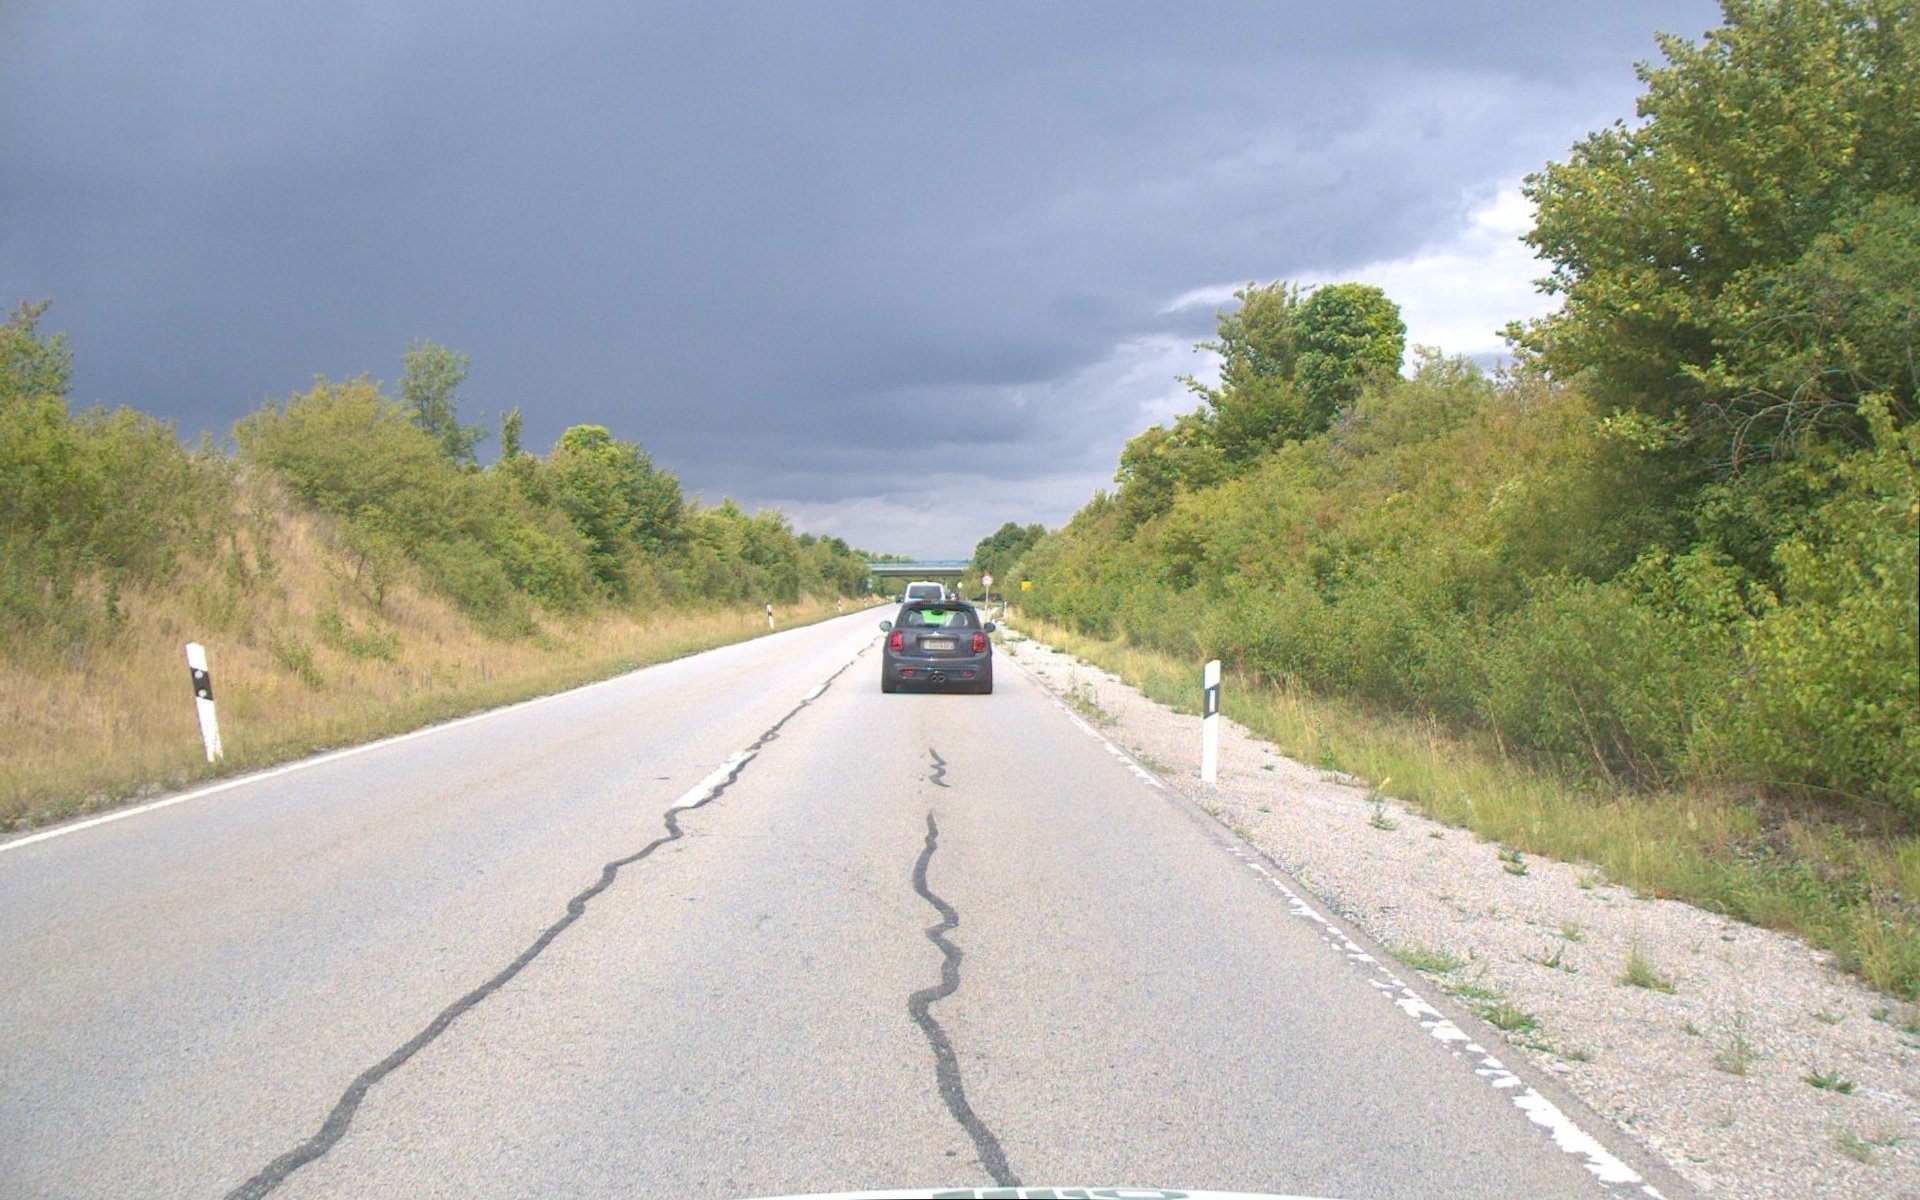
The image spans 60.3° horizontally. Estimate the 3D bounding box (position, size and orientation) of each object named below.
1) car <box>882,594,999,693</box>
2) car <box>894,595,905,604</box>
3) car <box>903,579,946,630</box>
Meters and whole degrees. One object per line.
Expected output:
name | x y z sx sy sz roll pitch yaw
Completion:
car | -0.337 0.647 26.641 1.721 1.452 3.999 1 0 -1
car | -9.003 -0.083 246.728 1.666 1.353 3.999 -1 0 -2
car | -1.549 0.189 71.347 1.782 2.090 3.999 1 0 -1
